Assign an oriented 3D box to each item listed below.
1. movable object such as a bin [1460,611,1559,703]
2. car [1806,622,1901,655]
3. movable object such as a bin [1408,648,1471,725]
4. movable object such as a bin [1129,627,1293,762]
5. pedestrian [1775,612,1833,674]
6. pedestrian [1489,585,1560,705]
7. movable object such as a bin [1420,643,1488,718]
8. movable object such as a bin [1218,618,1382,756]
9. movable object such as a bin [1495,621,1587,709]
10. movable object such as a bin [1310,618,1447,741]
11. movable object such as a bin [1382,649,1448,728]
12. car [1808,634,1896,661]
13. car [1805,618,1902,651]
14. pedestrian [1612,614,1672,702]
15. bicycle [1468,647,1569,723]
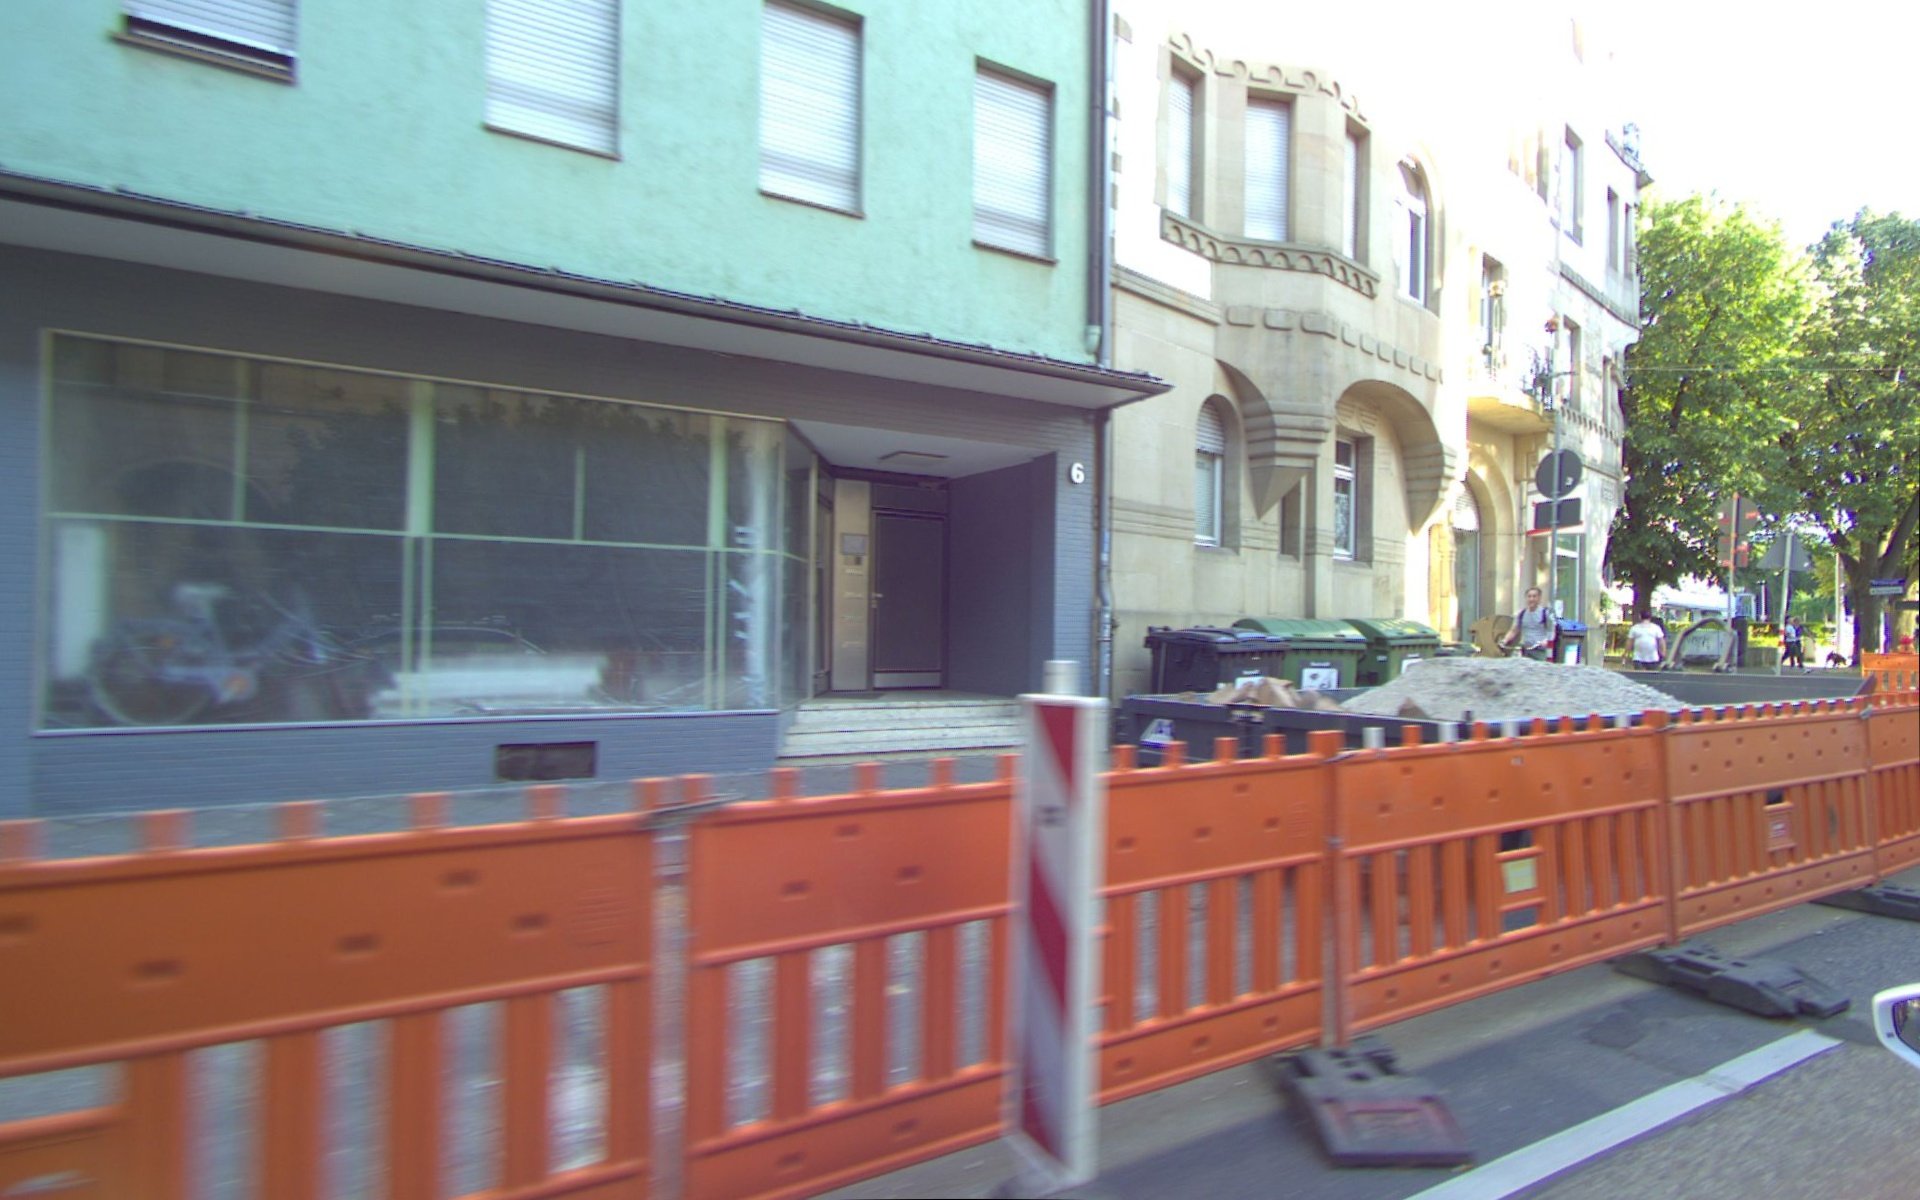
[{"bbox_3d":[9.308,0.930,17.006,1.398,1.450,1.072,1,0,-44],"label":"movable object such as a bin"},{"bbox_3d":[57.574,2.457,64.780,1.982,1.876,4.281,2,0,-37],"label":"car"},{"bbox_3d":[6.927,1.232,14.519,0.551,1.037,0.631,1,0,-39],"label":"movable object such as a bin"},{"bbox_3d":[2.661,0.952,10.660,1.323,1.281,1.074,1,0,-37],"label":"movable object such as a bin"},{"bbox_3d":[25.348,1.275,30.183,1.179,1.805,1.037,1,-1,-33],"label":"pedestrian"},{"bbox_3d":[7.664,0.601,13.650,0.610,1.576,0.594,1,0,-34],"label":"pedestrian"},{"bbox_3d":[7.397,1.185,15.045,0.757,1.055,0.631,1,0,-39],"label":"movable object such as a bin"},{"bbox_3d":[3.866,0.957,11.490,1.387,1.450,1.080,2,0,-23],"label":"movable object such as a bin"},{"bbox_3d":[10.363,1.126,17.922,1.336,1.450,1.072,1,0,-44],"label":"movable object such as a bin"},{"bbox_3d":[5.376,0.975,12.906,1.395,1.450,1.074,1,0,-39],"label":"movable object such as a bin"},{"bbox_3d":[6.424,1.233,14.187,0.583,1.055,0.631,1,0,-39],"label":"movable object such as a bin"},{"bbox_3d":[55.426,2.908,62.454,1.987,1.498,3.951,2,0,-44],"label":"car"},{"bbox_3d":[59.362,2.250,66.776,2.102,1.991,4.624,1,0,-42],"label":"car"},{"bbox_3d":[13.285,1.106,19.557,0.812,1.625,0.912,2,0,43],"label":"pedestrian"},{"bbox_3d":[7.578,1.127,13.615,1.458,0.944,0.596,1,0,-34],"label":"bicycle"}]
